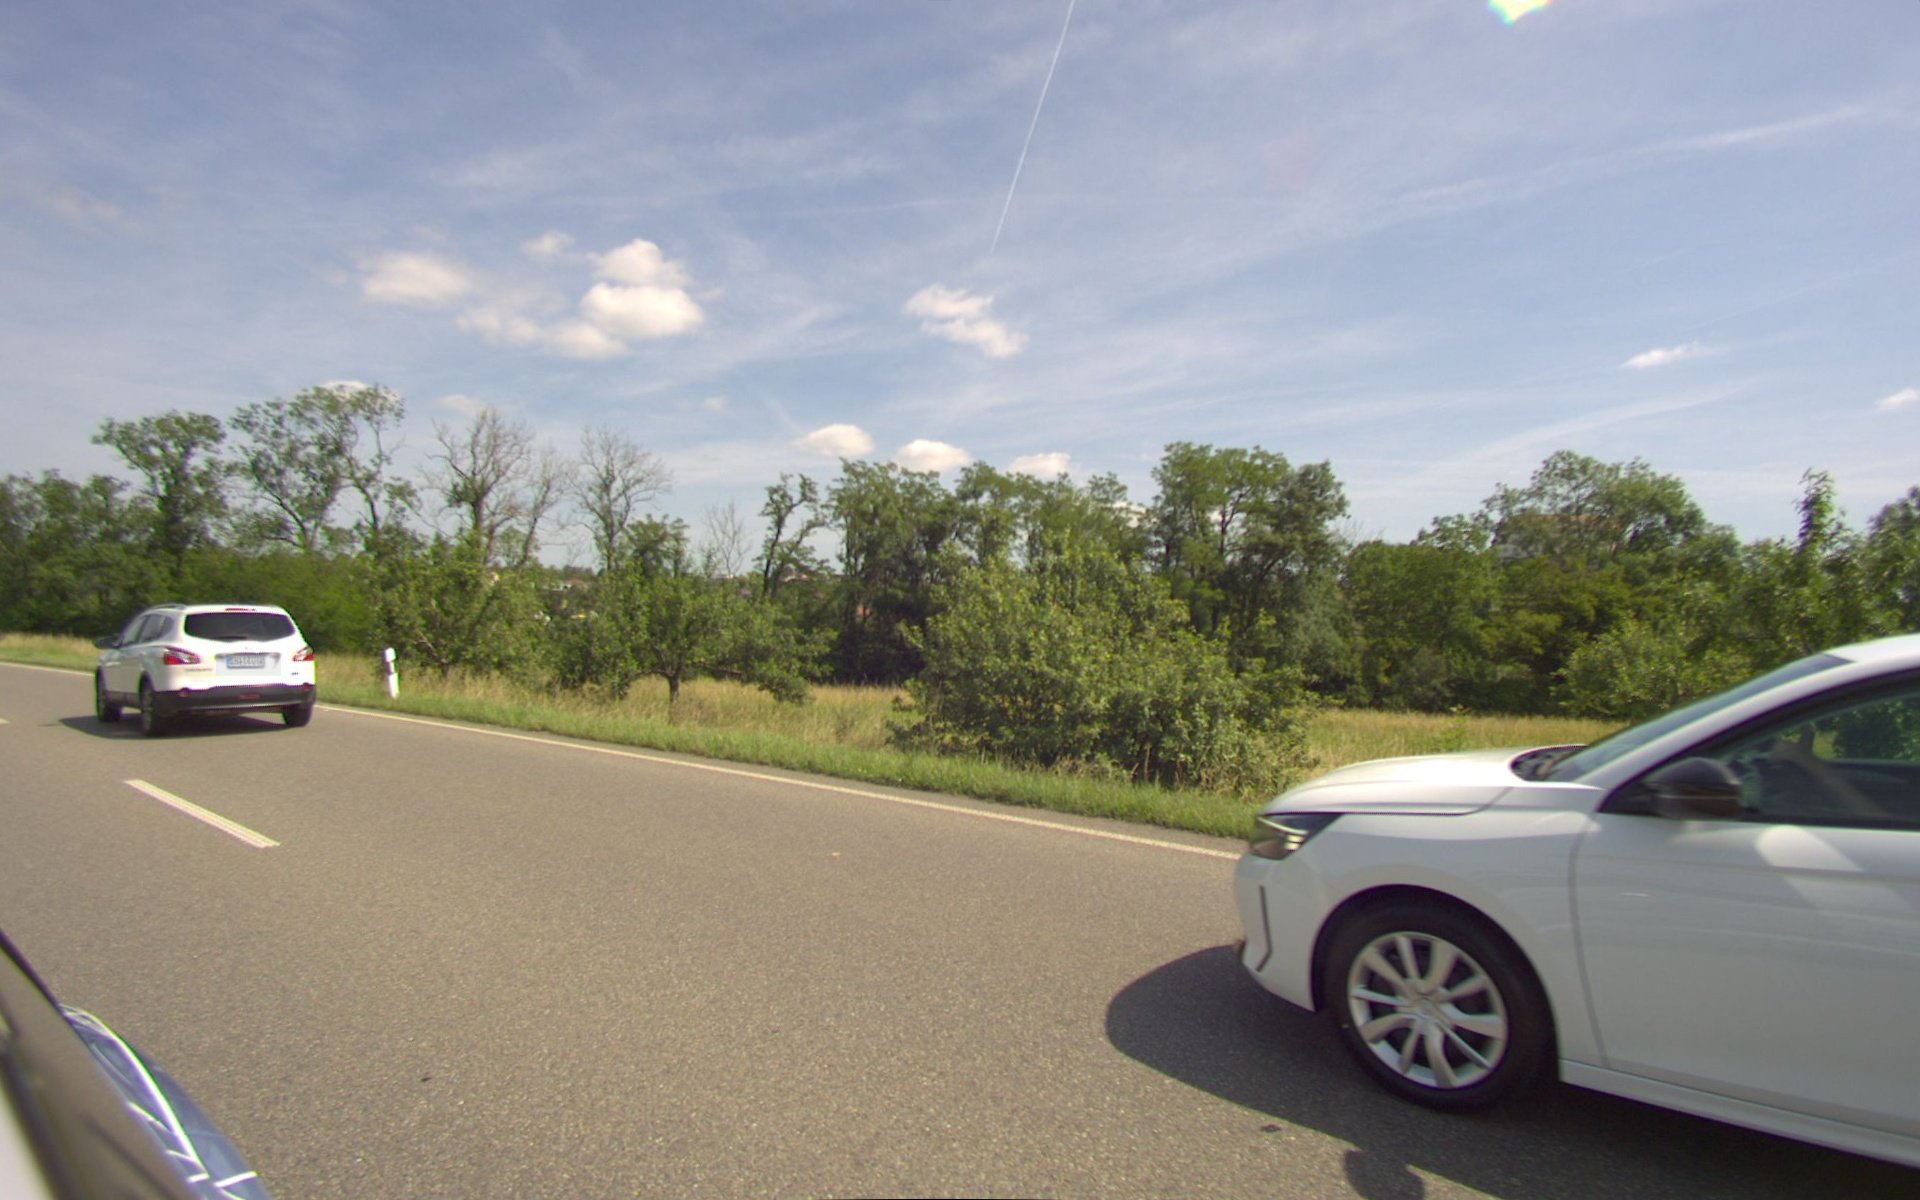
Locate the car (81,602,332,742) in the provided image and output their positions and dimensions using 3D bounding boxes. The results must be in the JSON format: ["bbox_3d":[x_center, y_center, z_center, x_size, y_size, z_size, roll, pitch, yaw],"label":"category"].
[{"bbox_3d":[-10.409,0.877,13.874,4.359,1.629,1.814,-1,-2,40],"label":"car"}]

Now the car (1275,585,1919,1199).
[{"bbox_3d":[2.974,0.699,2.593,3.771,1.425,1.732,-2,-3,41],"label":"car"}]
